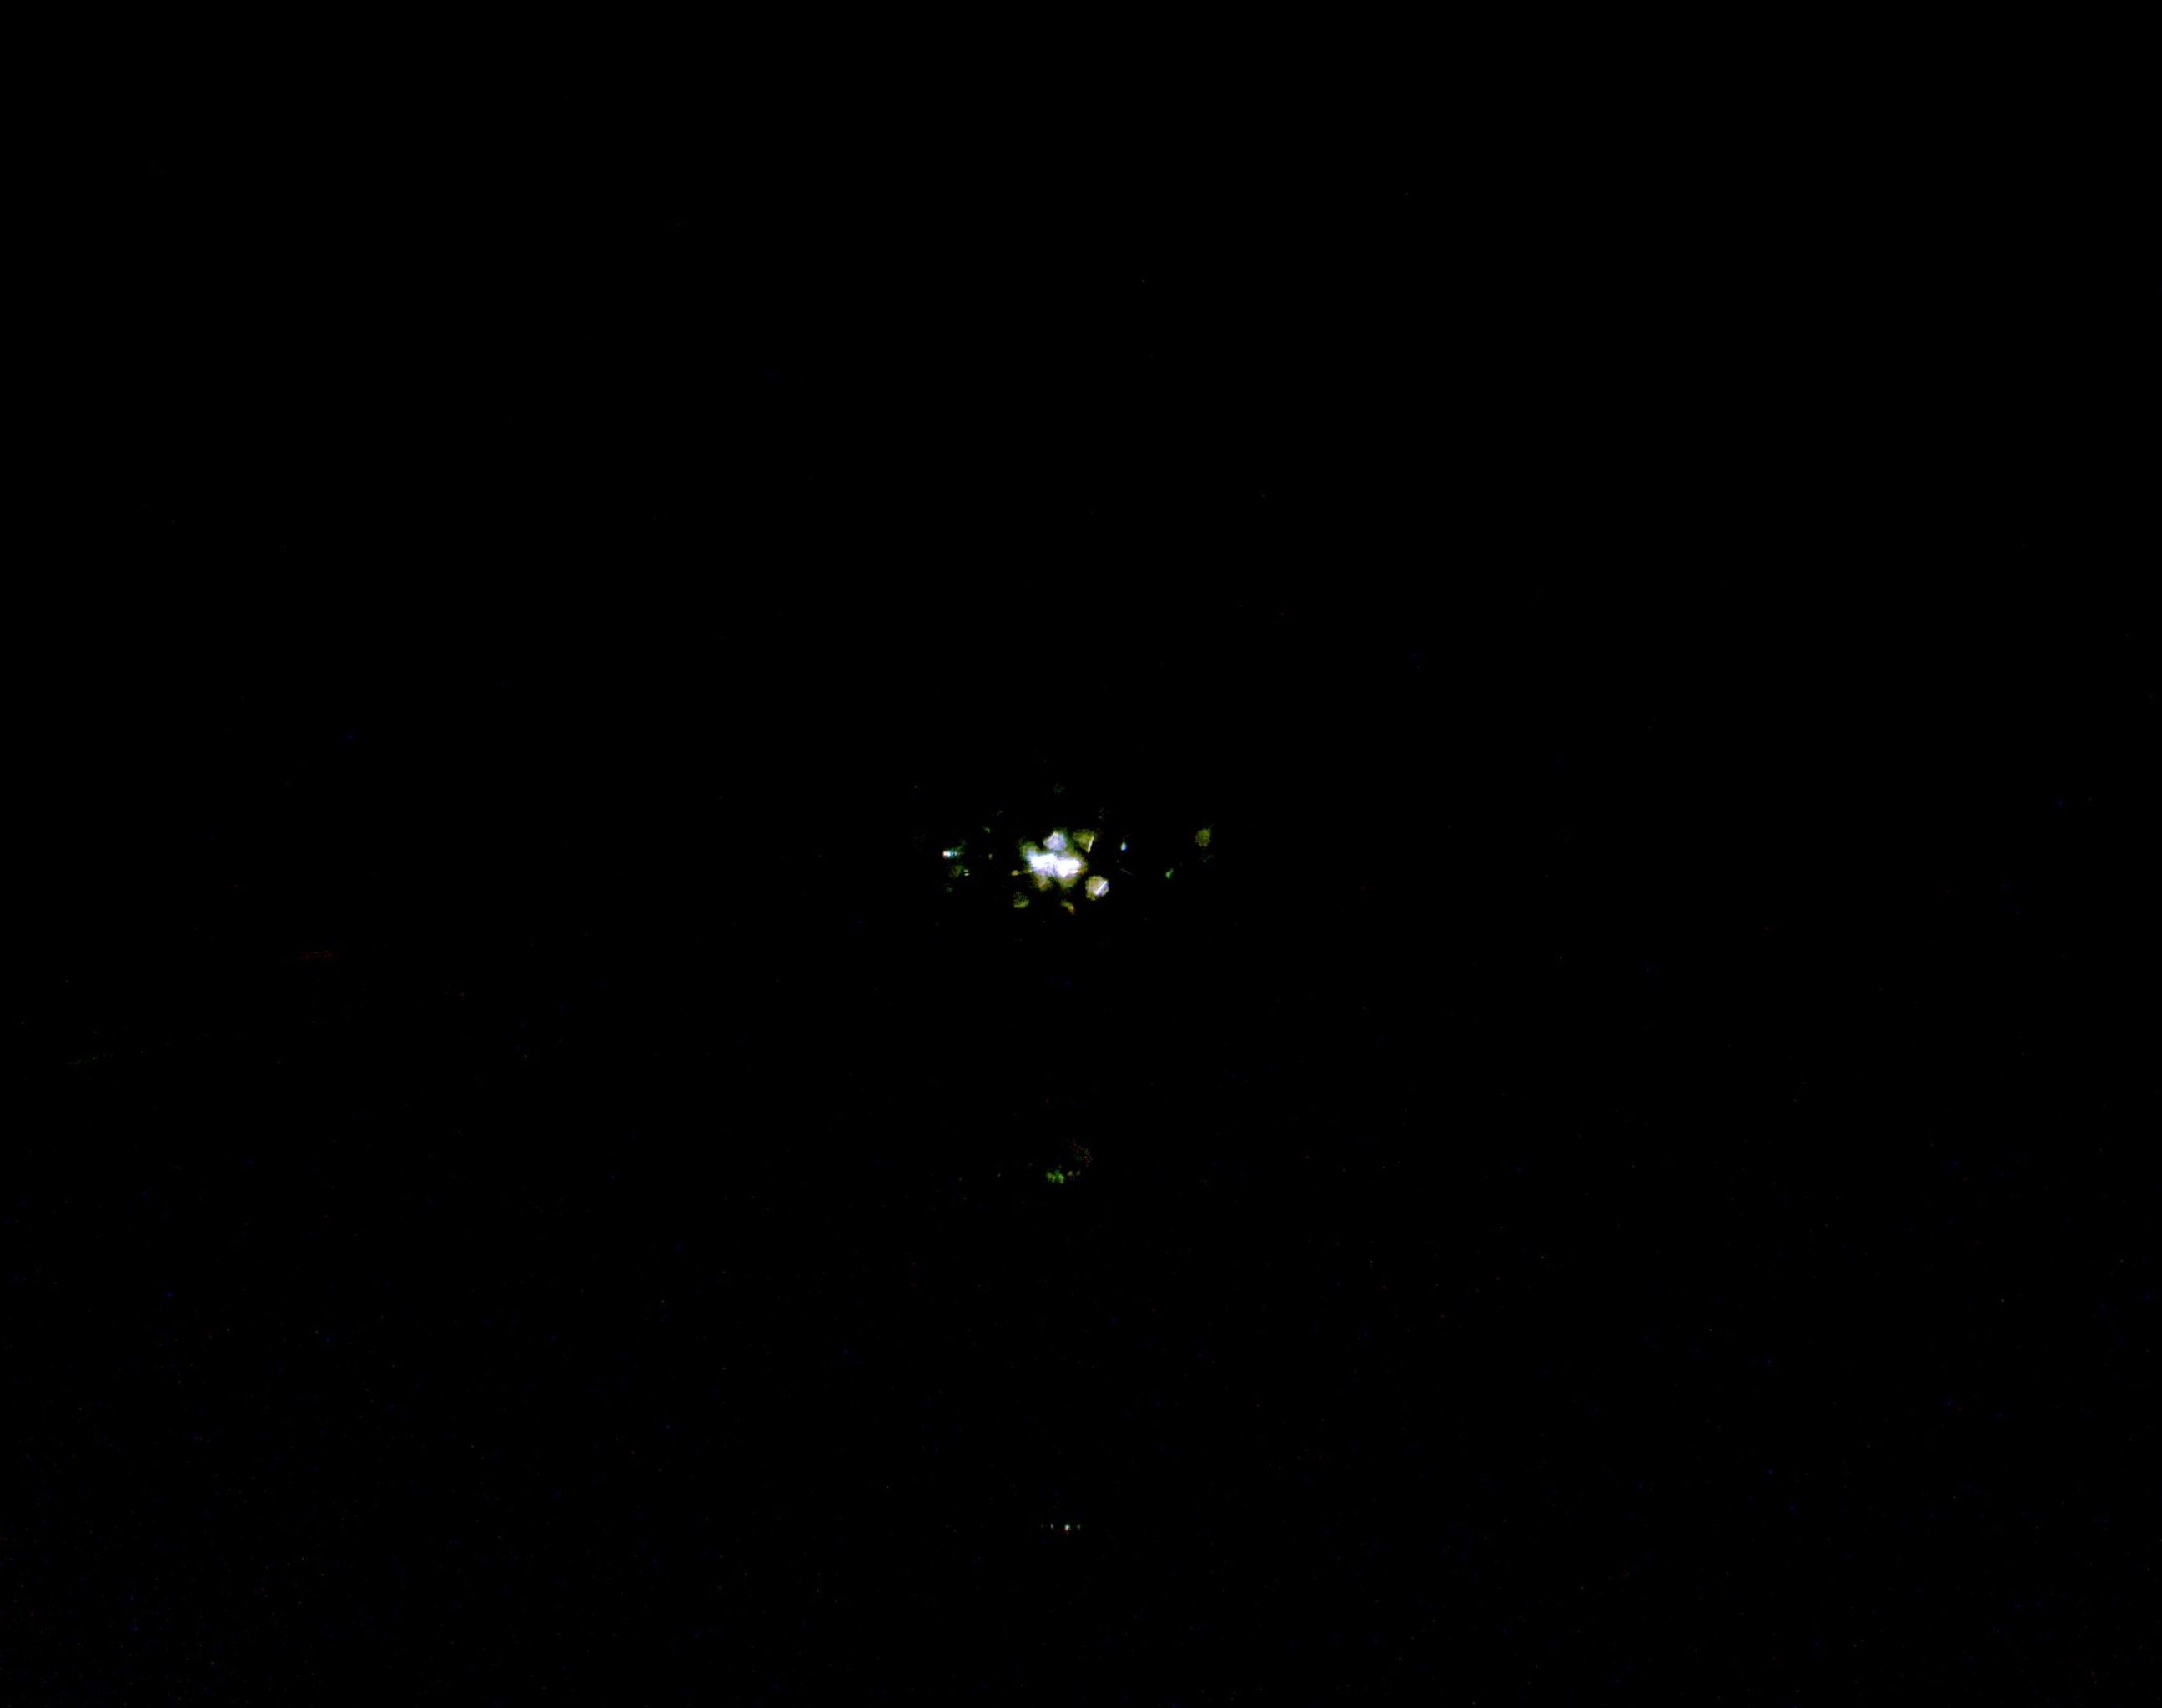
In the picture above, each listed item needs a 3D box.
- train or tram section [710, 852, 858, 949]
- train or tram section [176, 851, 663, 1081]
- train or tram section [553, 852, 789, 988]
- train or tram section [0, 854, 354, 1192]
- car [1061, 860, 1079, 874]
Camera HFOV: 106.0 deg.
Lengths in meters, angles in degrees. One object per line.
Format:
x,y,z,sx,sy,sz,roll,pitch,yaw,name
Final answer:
-11.964,1.691,33.893,2.833,3.460,8.554,-1,0,1,train or tram section
-12.291,1.705,16.697,2.833,3.460,8.554,-1,0,1,train or tram section
-12.123,1.696,25.324,2.833,3.460,8.554,-1,0,1,train or tram section
-12.517,1.751,8.038,2.833,3.460,8.554,-1,0,1,train or tram section
-1.249,1.523,94.489,1.987,1.457,4.097,-2,-1,0,car
